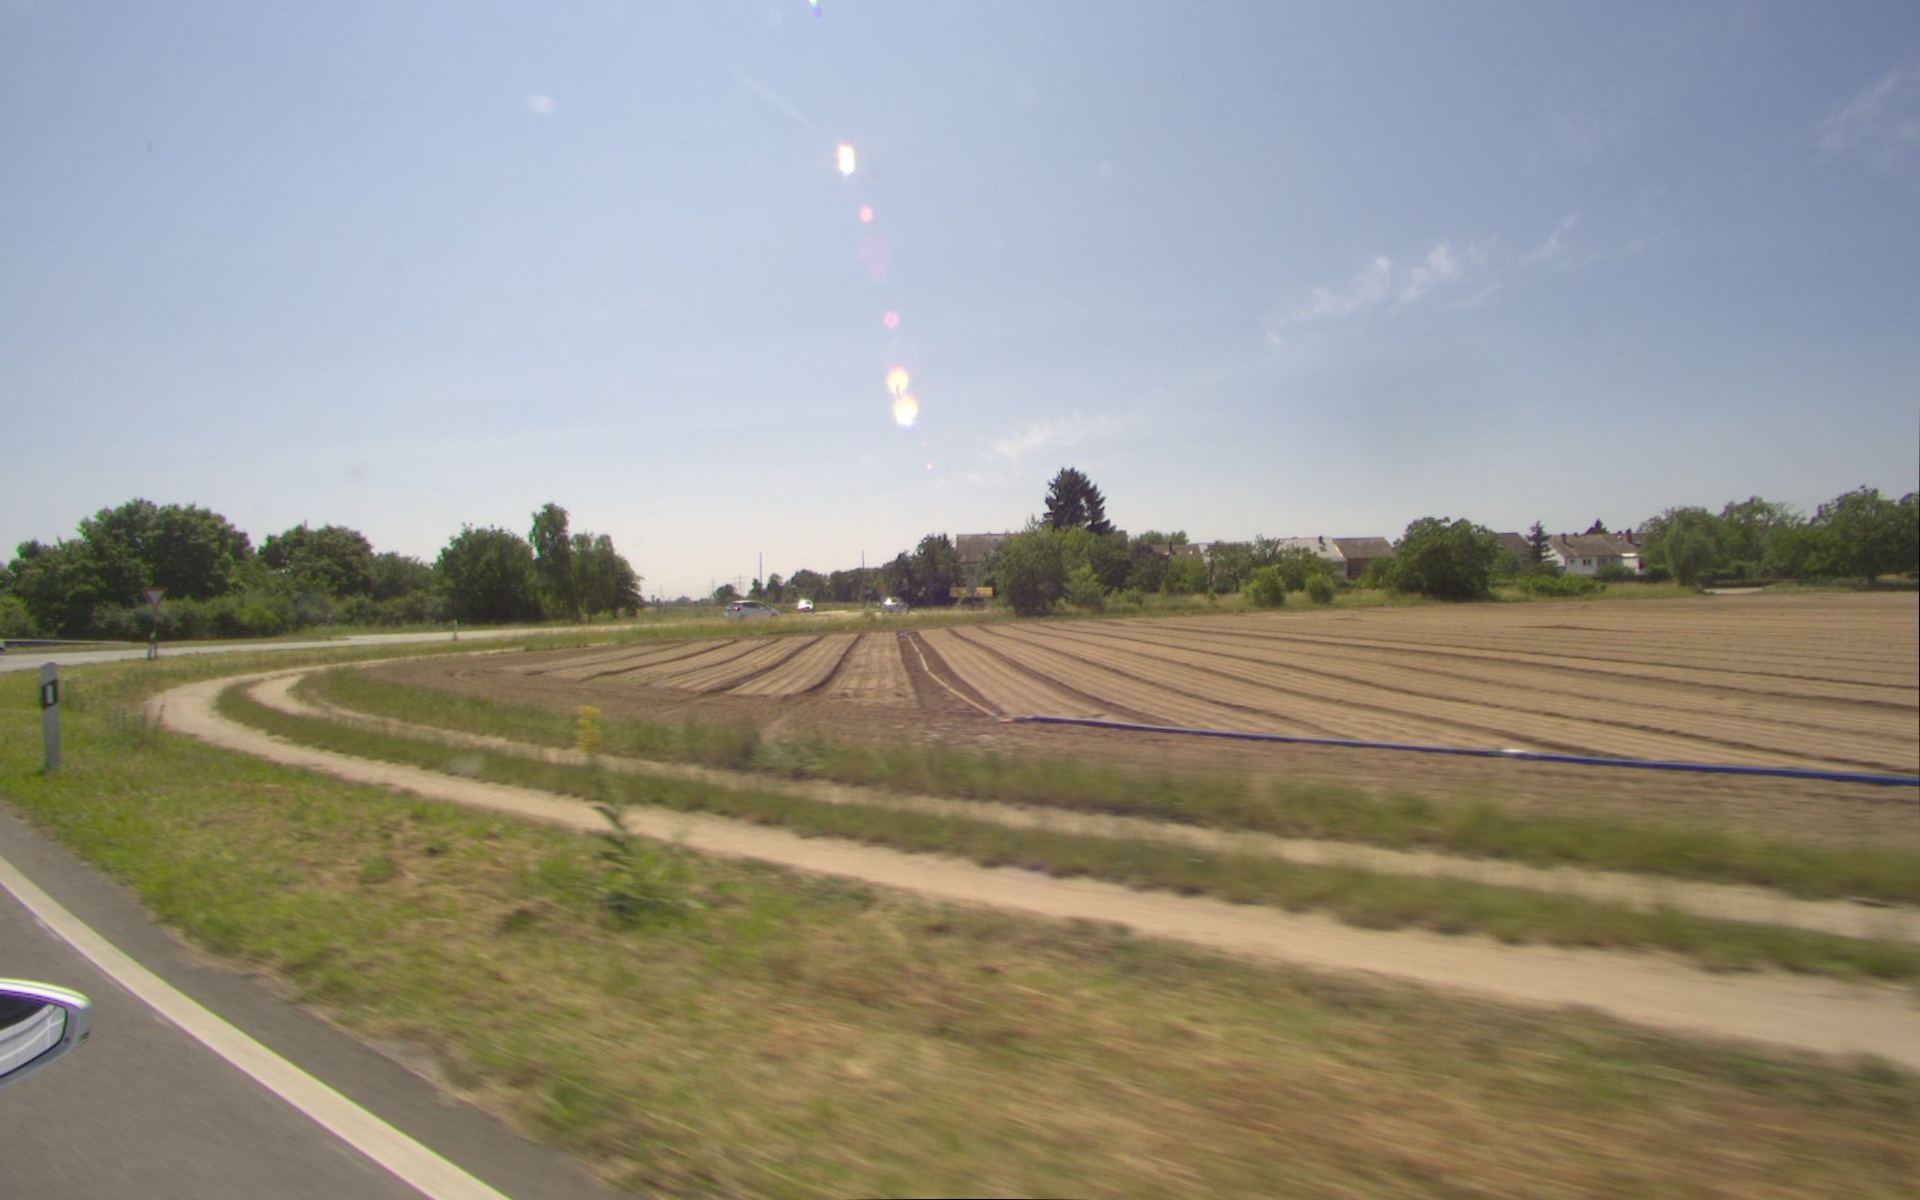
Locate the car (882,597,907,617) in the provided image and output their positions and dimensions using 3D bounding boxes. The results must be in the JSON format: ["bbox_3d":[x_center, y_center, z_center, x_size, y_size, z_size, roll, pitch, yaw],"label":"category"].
[{"bbox_3d":[-5.598,0.589,86.533,1.612,1.645,3.999,-1,0,4],"label":"car"}]

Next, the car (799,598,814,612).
[{"bbox_3d":[-17.876,0.584,116.454,1.613,1.645,4.763,-1,0,-10],"label":"car"}]

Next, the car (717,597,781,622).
[{"bbox_3d":[-15.203,0.673,72.229,2.050,1.645,4.102,0,1,45],"label":"car"}]

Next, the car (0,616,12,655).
[{"bbox_3d":[-37.661,1.306,36.246,1.820,1.437,4.680,-1,-2,40],"label":"car"}]
